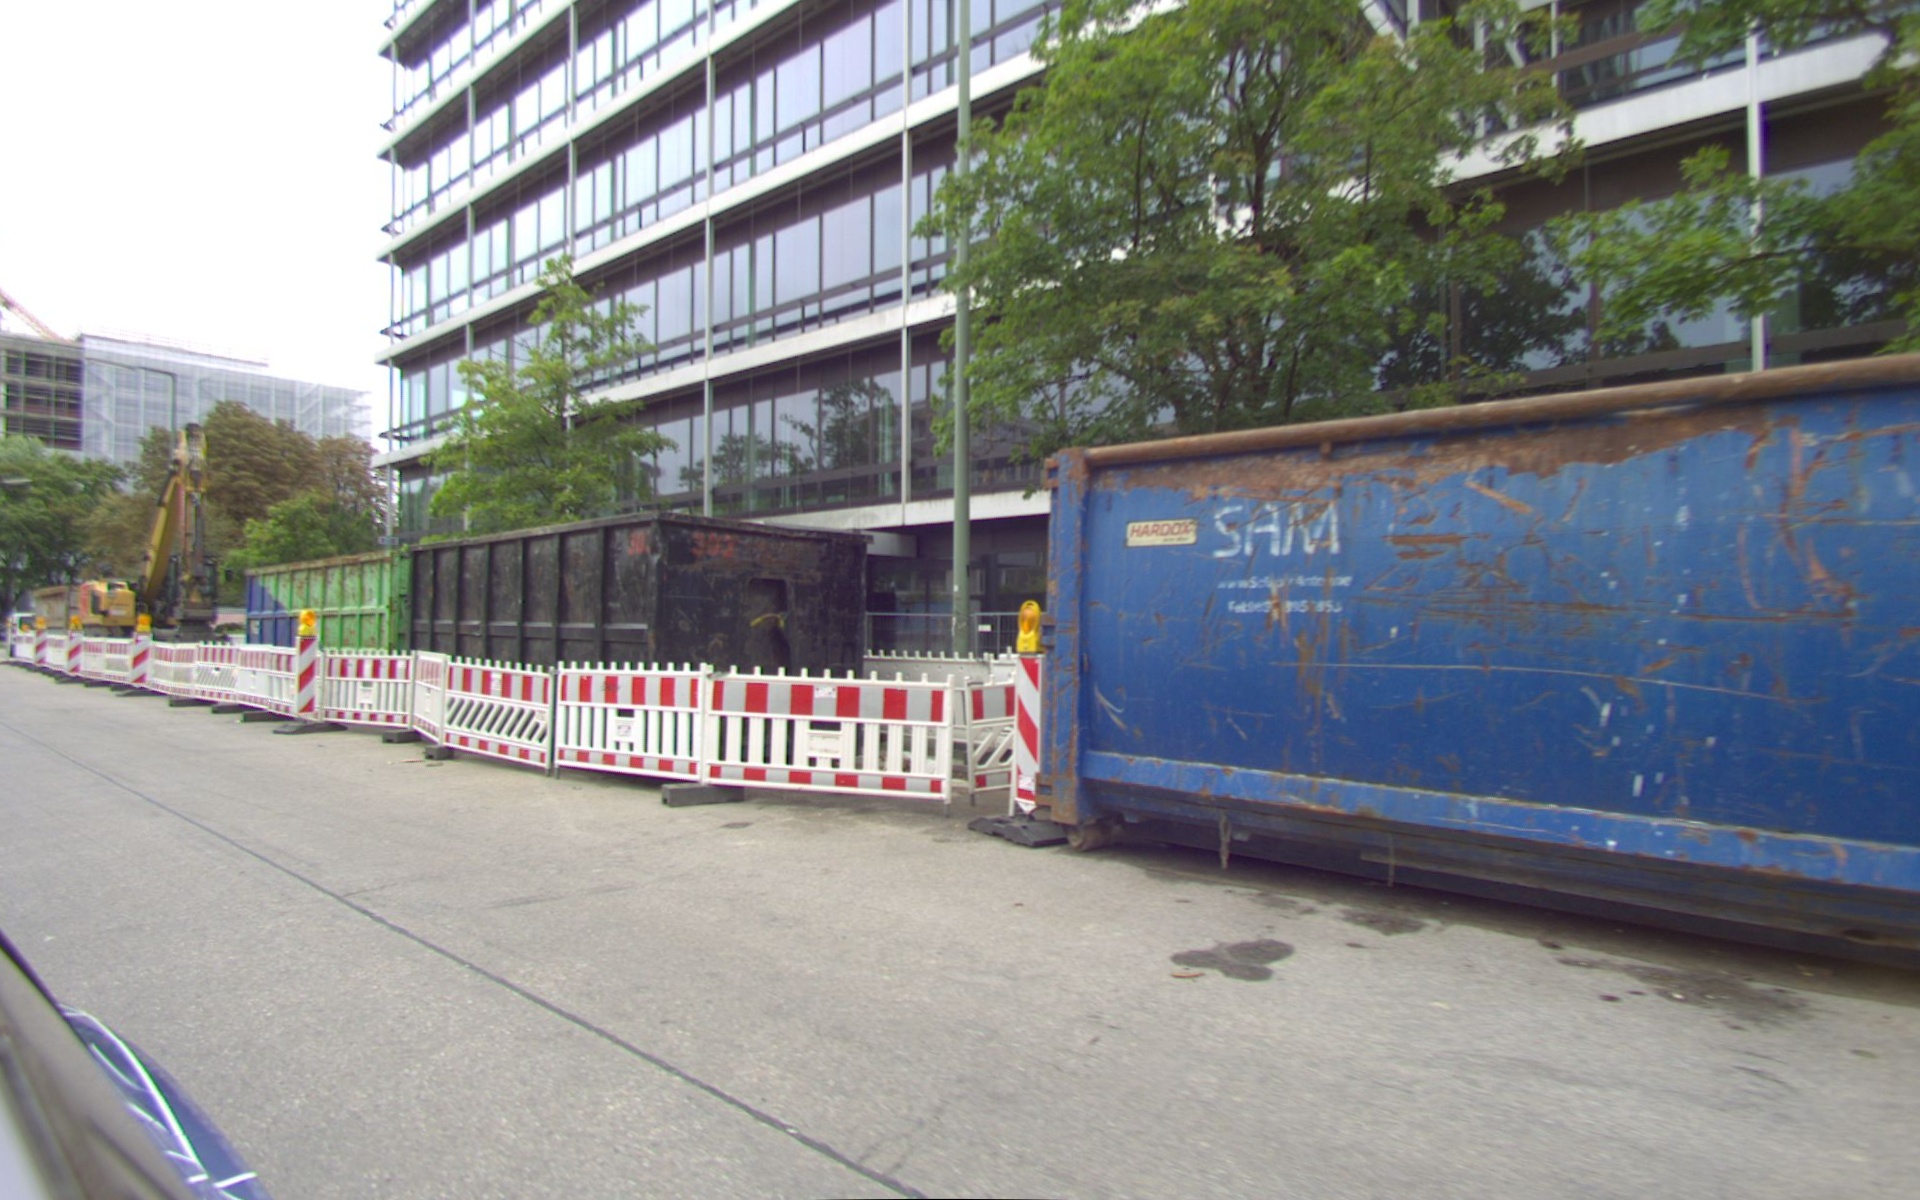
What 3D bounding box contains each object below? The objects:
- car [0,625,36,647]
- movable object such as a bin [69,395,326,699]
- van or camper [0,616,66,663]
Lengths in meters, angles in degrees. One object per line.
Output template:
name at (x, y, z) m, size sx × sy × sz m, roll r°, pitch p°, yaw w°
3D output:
car at (-72.839, 2.728, 76.600) m, size 1.775 × 1.584 × 3.863 m, roll 1°, pitch -2°, yaw 18°
movable object such as a bin at (-20.623, -1.052, 26.928) m, size 11.776 × 6.614 × 2.874 m, roll -1°, pitch -2°, yaw 41°
van or camper at (-43.155, 1.854, 47.036) m, size 5.589 × 2.050 × 1.966 m, roll -2°, pitch -4°, yaw 45°
